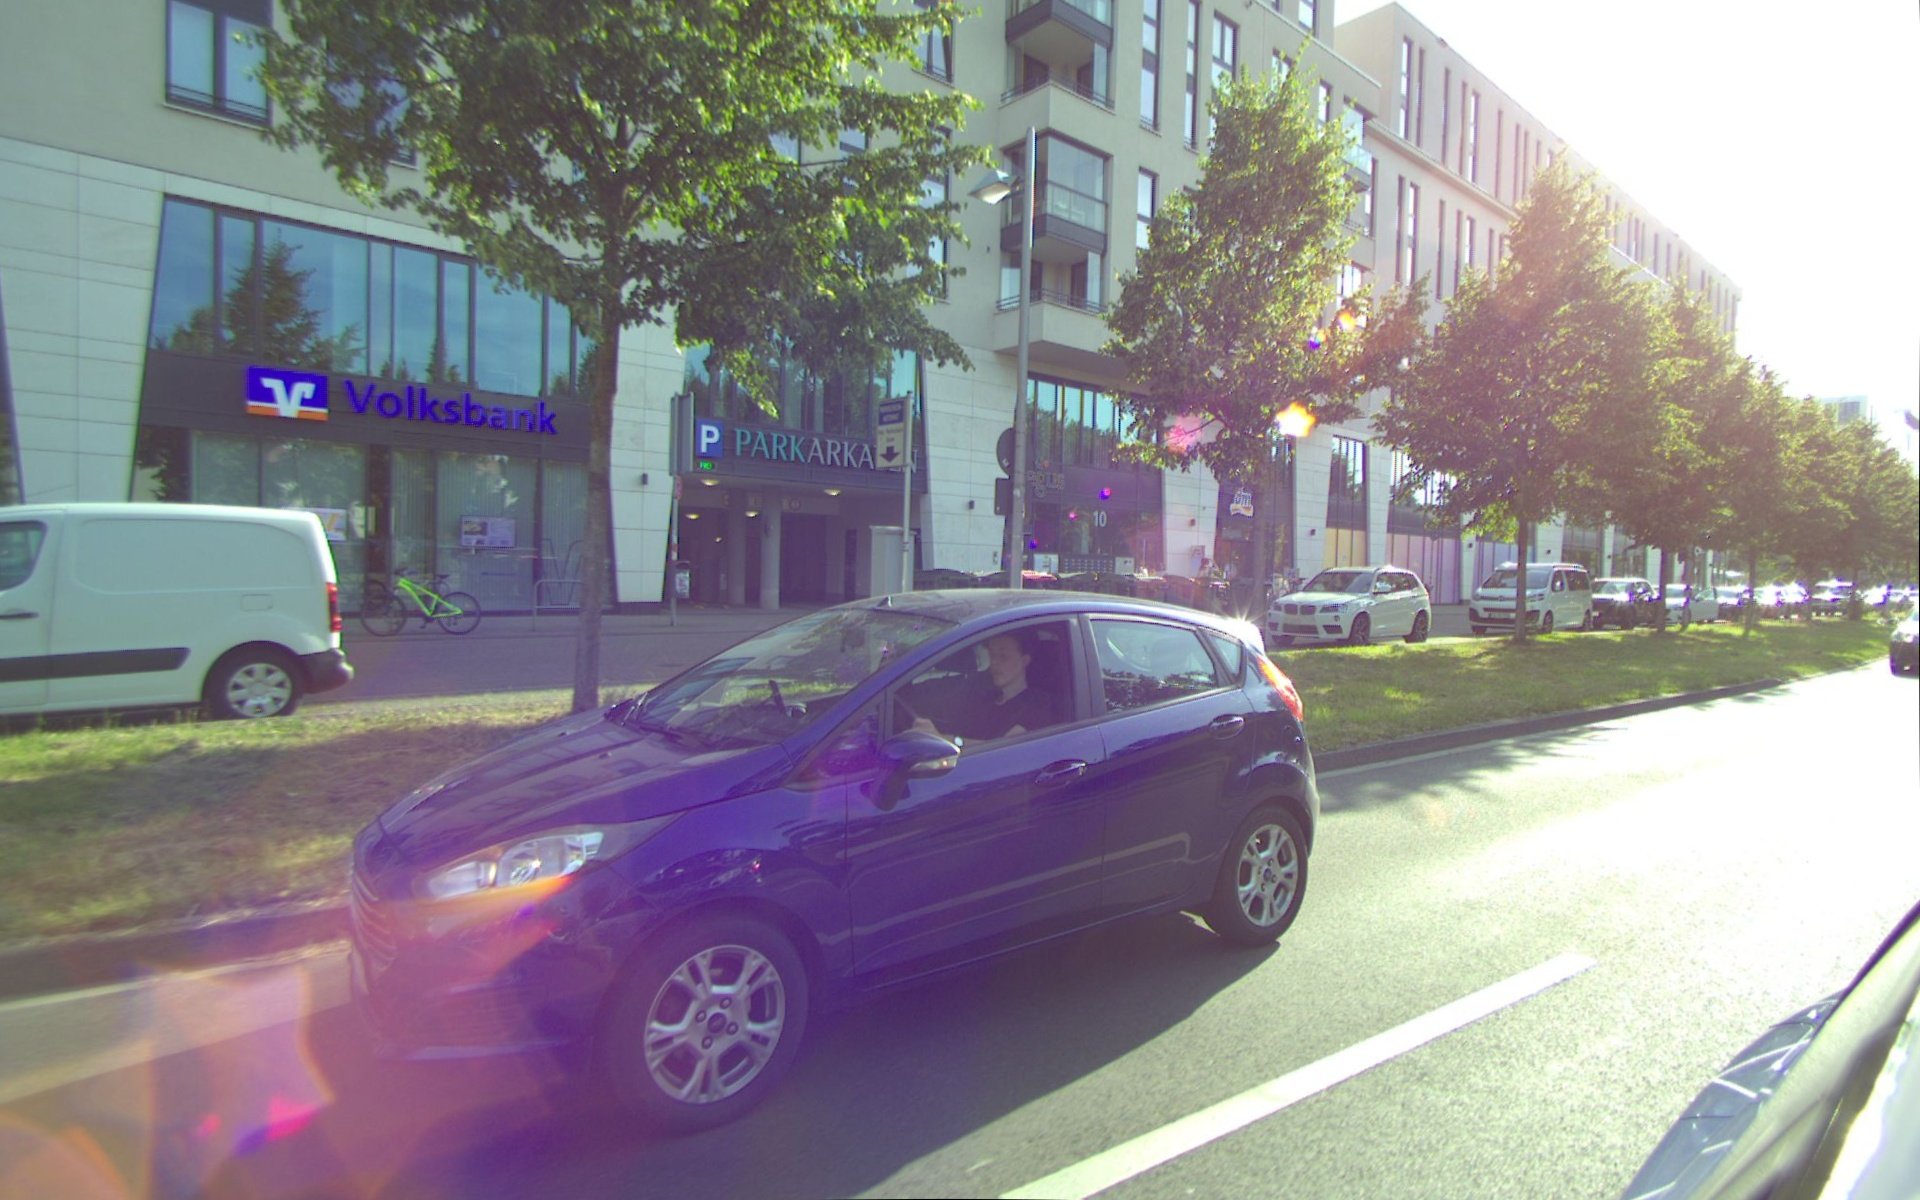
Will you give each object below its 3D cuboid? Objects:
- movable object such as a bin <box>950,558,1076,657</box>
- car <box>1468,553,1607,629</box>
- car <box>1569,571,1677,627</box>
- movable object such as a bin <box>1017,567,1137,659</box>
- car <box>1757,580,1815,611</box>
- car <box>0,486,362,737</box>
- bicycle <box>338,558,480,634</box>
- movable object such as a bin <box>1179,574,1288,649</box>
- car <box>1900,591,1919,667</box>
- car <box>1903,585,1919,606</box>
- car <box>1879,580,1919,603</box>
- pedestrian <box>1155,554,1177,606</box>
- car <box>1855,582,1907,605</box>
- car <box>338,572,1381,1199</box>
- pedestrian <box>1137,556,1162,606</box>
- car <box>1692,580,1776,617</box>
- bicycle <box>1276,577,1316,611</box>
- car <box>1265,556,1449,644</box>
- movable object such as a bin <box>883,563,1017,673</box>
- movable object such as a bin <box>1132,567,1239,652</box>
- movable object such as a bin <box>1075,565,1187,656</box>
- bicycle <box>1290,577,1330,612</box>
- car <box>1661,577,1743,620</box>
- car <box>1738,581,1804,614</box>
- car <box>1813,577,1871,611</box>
[{"bbox_3d":[0.718,0.081,13.774,1.172,1.252,1.278,-1,1,-43],"label":"movable object such as a bin"},{"bbox_3d":[15.976,-0.274,27.890,4.944,1.899,1.840,-1,1,-41],"label":"car"},{"bbox_3d":[21.076,-0.067,32.119,4.262,1.671,1.732,-1,1,-40],"label":"car"},{"bbox_3d":[1.690,0.164,14.670,1.172,1.252,1.278,-1,1,-43],"label":"movable object such as a bin"},{"bbox_3d":[41.417,-0.250,50.696,1.868,1.510,4.344,1,1,45],"label":"car"},{"bbox_3d":[-7.186,0.067,7.735,4.224,1.733,1.829,-1,1,-43],"label":"car"},{"bbox_3d":[-8.637,-0.080,15.911,1.911,1.129,0.493,-1,3,-41],"label":"bicycle"},{"bbox_3d":[4.741,0.173,17.639,1.307,1.252,1.406,0,1,-13],"label":"movable object such as a bin"},{"bbox_3d":[20.658,0.560,20.702,3.969,1.442,1.697,-1,1,-41],"label":"car"},{"bbox_3d":[75.562,-0.372,79.461,4.253,1.549,1.839,-1,1,-41],"label":"car"},{"bbox_3d":[67.708,-0.636,72.853,4.253,1.618,1.763,-1,1,-41],"label":"car"},{"bbox_3d":[6.339,-0.608,31.137,0.511,1.594,0.534,0,0,30],"label":"pedestrian"},{"bbox_3d":[62.700,-0.484,68.865,4.829,1.506,1.765,-1,1,-37],"label":"car"},{"bbox_3d":[-0.152,0.624,3.987,3.833,1.442,1.565,-1,1,-35],"label":"car"},{"bbox_3d":[5.908,-0.597,31.565,0.587,1.541,0.514,-1,1,-41],"label":"pedestrian"},{"bbox_3d":[31.952,-0.111,41.732,4.637,1.450,1.732,-1,1,-39],"label":"car"},{"bbox_3d":[11.203,-0.213,33.698,1.711,1.093,0.345,-1,6,-40],"label":"bicycle"},{"bbox_3d":[8.520,-0.035,21.494,4.769,1.650,1.732,0,3,-43],"label":"car"},{"bbox_3d":[-0.132,0.201,12.931,1.159,1.307,1.278,-1,1,-43],"label":"movable object such as a bin"},{"bbox_3d":[3.681,0.128,16.538,1.172,1.318,1.278,-1,1,-43],"label":"movable object such as a bin"},{"bbox_3d":[2.655,0.134,15.696,1.172,1.334,1.278,-1,1,-43],"label":"movable object such as a bin"},{"bbox_3d":[11.526,-0.184,33.327,1.702,1.093,0.345,-1,6,-40],"label":"bicycle"},{"bbox_3d":[26.136,-0.076,35.582,4.098,1.430,1.617,-1,1,-43],"label":"car"},{"bbox_3d":[37.408,-0.158,46.676,4.043,1.450,1.731,-1,1,-42],"label":"car"},{"bbox_3d":[50.341,-0.368,57.741,4.760,1.897,1.897,-1,1,-41],"label":"car"}]
